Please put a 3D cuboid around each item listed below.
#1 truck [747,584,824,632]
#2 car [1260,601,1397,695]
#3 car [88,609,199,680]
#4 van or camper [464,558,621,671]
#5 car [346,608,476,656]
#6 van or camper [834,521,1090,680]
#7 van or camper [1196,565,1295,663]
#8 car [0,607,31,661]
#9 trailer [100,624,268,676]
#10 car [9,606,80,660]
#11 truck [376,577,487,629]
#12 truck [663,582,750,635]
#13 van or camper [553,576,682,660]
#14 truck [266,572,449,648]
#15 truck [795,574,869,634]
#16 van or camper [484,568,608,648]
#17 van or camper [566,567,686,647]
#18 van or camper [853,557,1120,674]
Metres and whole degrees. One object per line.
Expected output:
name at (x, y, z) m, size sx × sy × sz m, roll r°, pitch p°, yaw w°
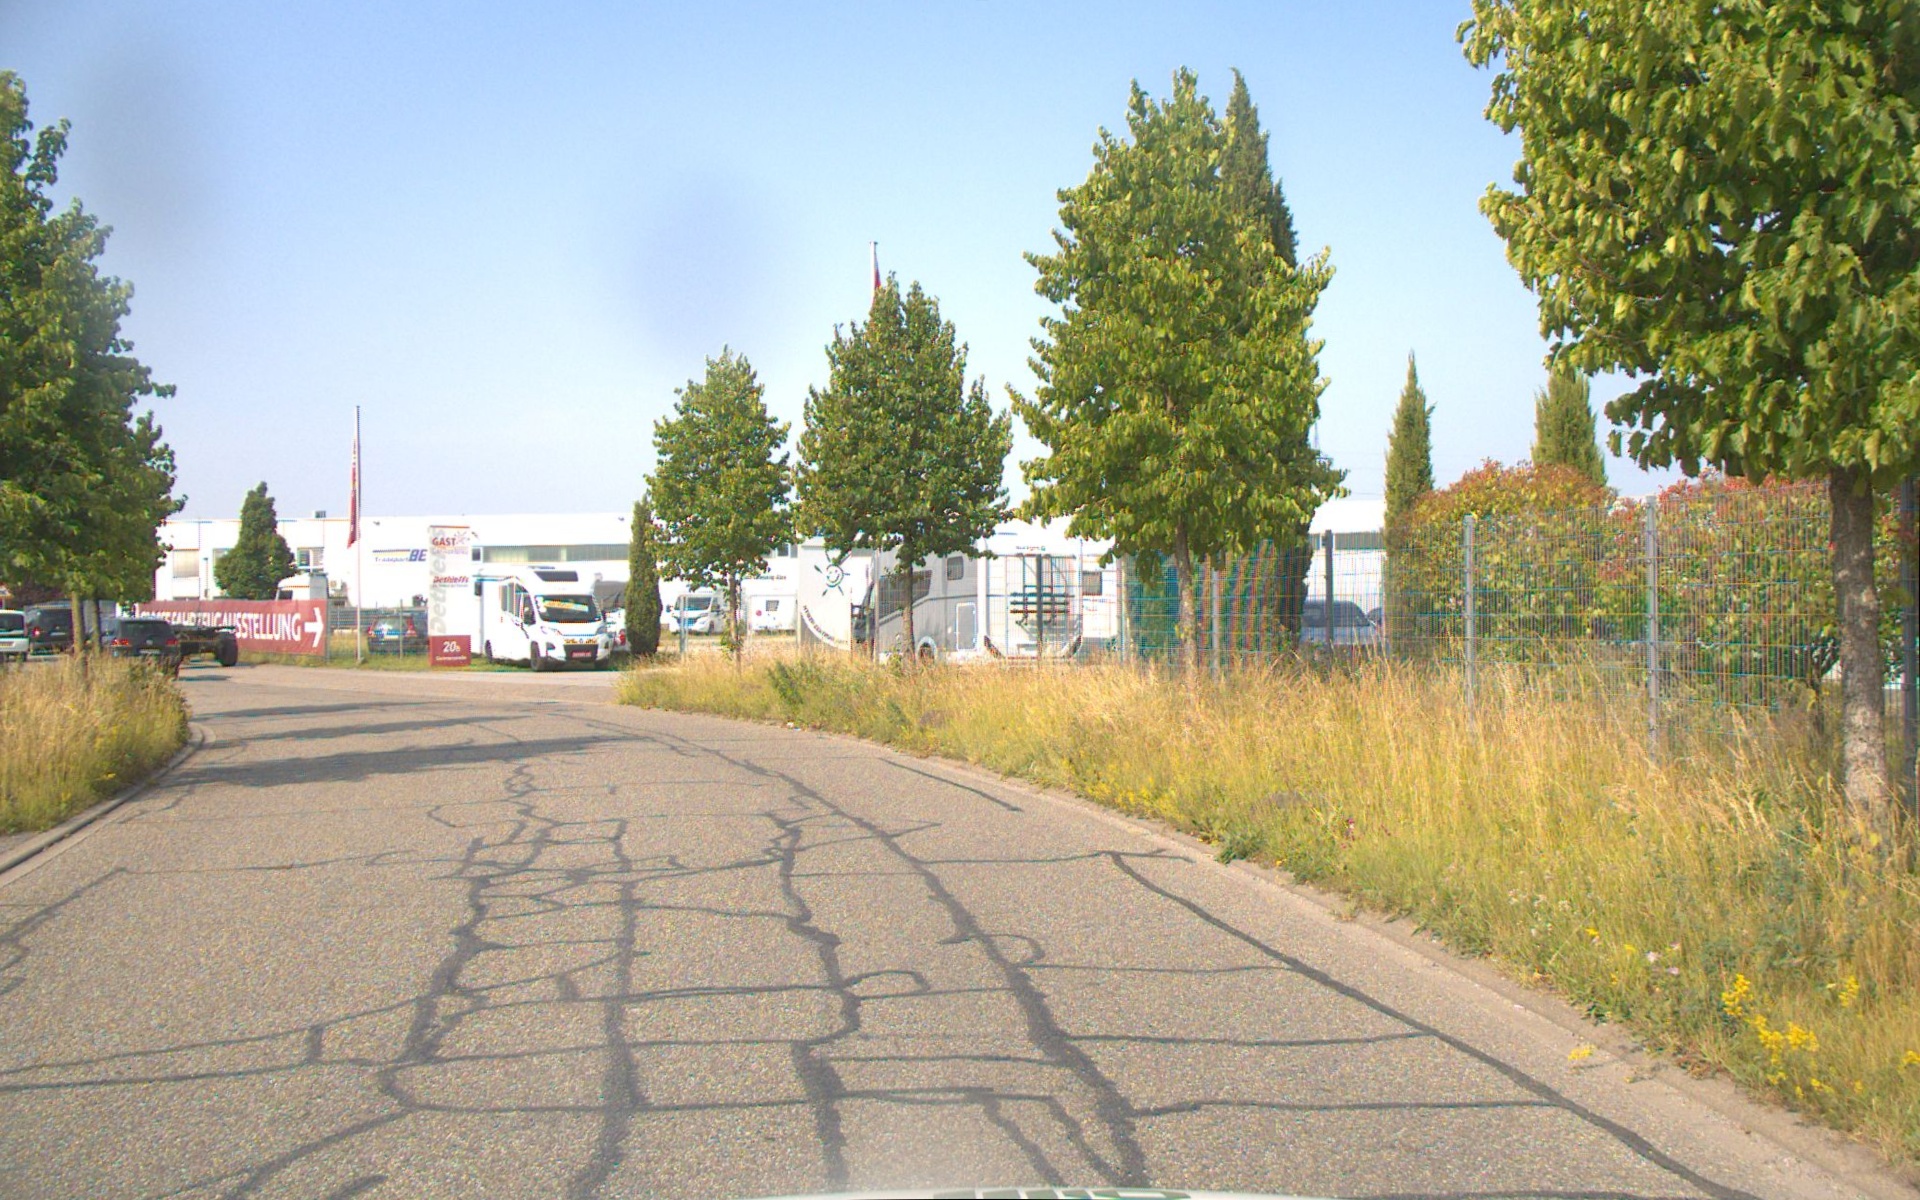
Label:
truck at (-8.839, 0.402, 84.783) m, size 2.398 × 2.305 × 8.007 m, roll 0°, pitch 0°, yaw 5°
car at (7.082, 0.883, 32.139) m, size 1.687 × 1.672 × 3.999 m, roll 1°, pitch 0°, yaw -1°
car at (-22.525, 1.192, 45.572) m, size 1.980 × 1.836 × 3.945 m, roll 0°, pitch 0°, yaw -38°
van or camper at (-12.002, 0.392, 47.129) m, size 2.309 × 2.995 × 6.892 m, roll 0°, pitch 0°, yaw -33°
car at (-18.257, 1.036, 55.180) m, size 2.120 × 1.502 × 4.001 m, roll -1°, pitch 0°, yaw 19°
van or camper at (-0.175, 0.043, 33.941) m, size 2.320 × 2.898 × 7.279 m, roll 0°, pitch -1°, yaw -26°
van or camper at (9.018, 0.479, 52.857) m, size 2.272 × 2.914 × 6.611 m, roll -1°, pitch -1°, yaw 2°
car at (-35.909, 1.228, 60.949) m, size 1.984 × 1.933 × 4.397 m, roll 0°, pitch 0°, yaw -43°
trailer at (-25.734, 1.575, 54.530) m, size 2.609 × 1.412 × 9.313 m, roll -3°, pitch 1°, yaw -41°
car at (-37.368, 1.295, 67.484) m, size 1.807 × 2.012 × 3.944 m, roll -4°, pitch 3°, yaw -39°
truck at (-26.533, 0.155, 83.413) m, size 2.398 × 2.514 × 8.007 m, roll 0°, pitch 0°, yaw 5°
truck at (-12.512, 0.410, 82.398) m, size 2.398 × 2.514 × 8.007 m, roll 0°, pitch 0°, yaw 5°
van or camper at (-11.276, 0.542, 55.020) m, size 2.431 × 2.603 × 6.629 m, roll 0°, pitch 0°, yaw 4°
truck at (-32.826, 0.562, 90.271) m, size 9.090 × 4.042 × 2.459 m, roll 0°, pitch 0°, yaw 2°
truck at (-6.396, 0.180, 83.884) m, size 2.398 × 2.876 × 8.007 m, roll 0°, pitch 0°, yaw 5°
van or camper at (-17.219, 0.295, 69.385) m, size 2.739 × 3.138 × 7.974 m, roll 0°, pitch 0°, yaw 4°
van or camper at (-13.828, 0.260, 69.182) m, size 2.887 × 3.138 × 7.974 m, roll 0°, pitch 0°, yaw 4°
van or camper at (0.685, 0.418, 45.554) m, size 7.112 × 3.085 × 2.584 m, roll 0°, pitch -1°, yaw -2°
